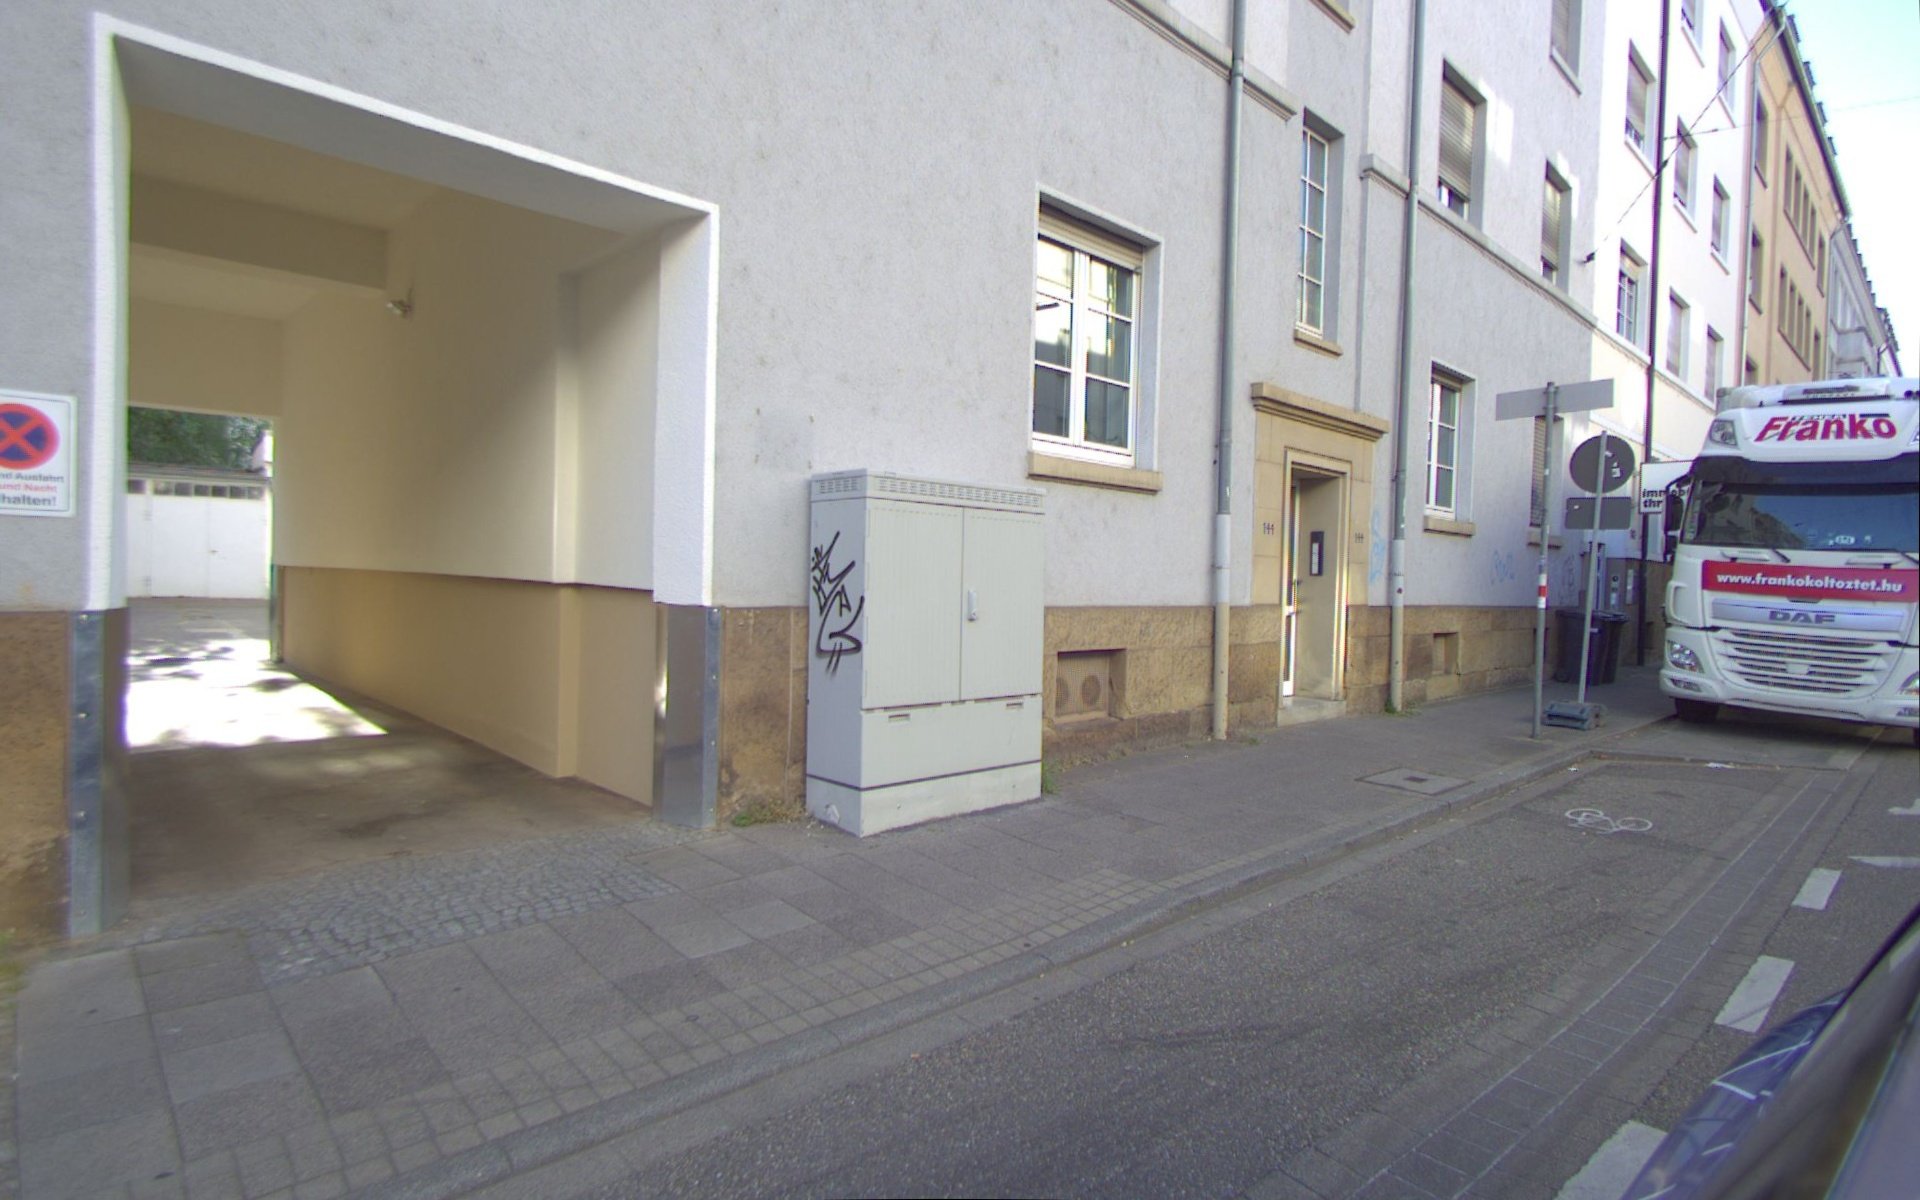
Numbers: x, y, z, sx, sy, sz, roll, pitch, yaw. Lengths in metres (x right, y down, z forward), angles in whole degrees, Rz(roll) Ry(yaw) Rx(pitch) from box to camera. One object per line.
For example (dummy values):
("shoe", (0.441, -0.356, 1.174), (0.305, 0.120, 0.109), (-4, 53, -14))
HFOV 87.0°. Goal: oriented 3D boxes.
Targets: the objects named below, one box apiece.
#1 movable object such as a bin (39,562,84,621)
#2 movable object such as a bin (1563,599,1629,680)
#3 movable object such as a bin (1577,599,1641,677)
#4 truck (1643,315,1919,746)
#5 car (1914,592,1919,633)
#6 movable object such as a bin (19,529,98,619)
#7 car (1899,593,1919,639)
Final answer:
("movable object such as a bin", (-14.383, -0.141, 16.197), (0.518, 0.922, 0.580), (0, 2, -43))
("movable object such as a bin", (9.165, 0.557, 14.587), (0.560, 1.107, 0.665), (0, 2, -43))
("movable object such as a bin", (9.644, 0.549, 15.038), (0.560, 1.107, 0.665), (0, 2, -43))
("truck", (12.569, -0.673, 13.880), (11.621, 3.975, 2.778), (0, 2, -44))
("car", (37.668, 0.470, 38.632), (4.080, 1.551, 1.681), (0, 0, -44))
("movable object such as a bin", (-15.160, -0.448, 17.015), (0.946, 1.426, 1.597), (0, 2, -43))
("car", (33.498, 0.537, 34.734), (4.080, 1.551, 1.681), (0, 0, -44))
